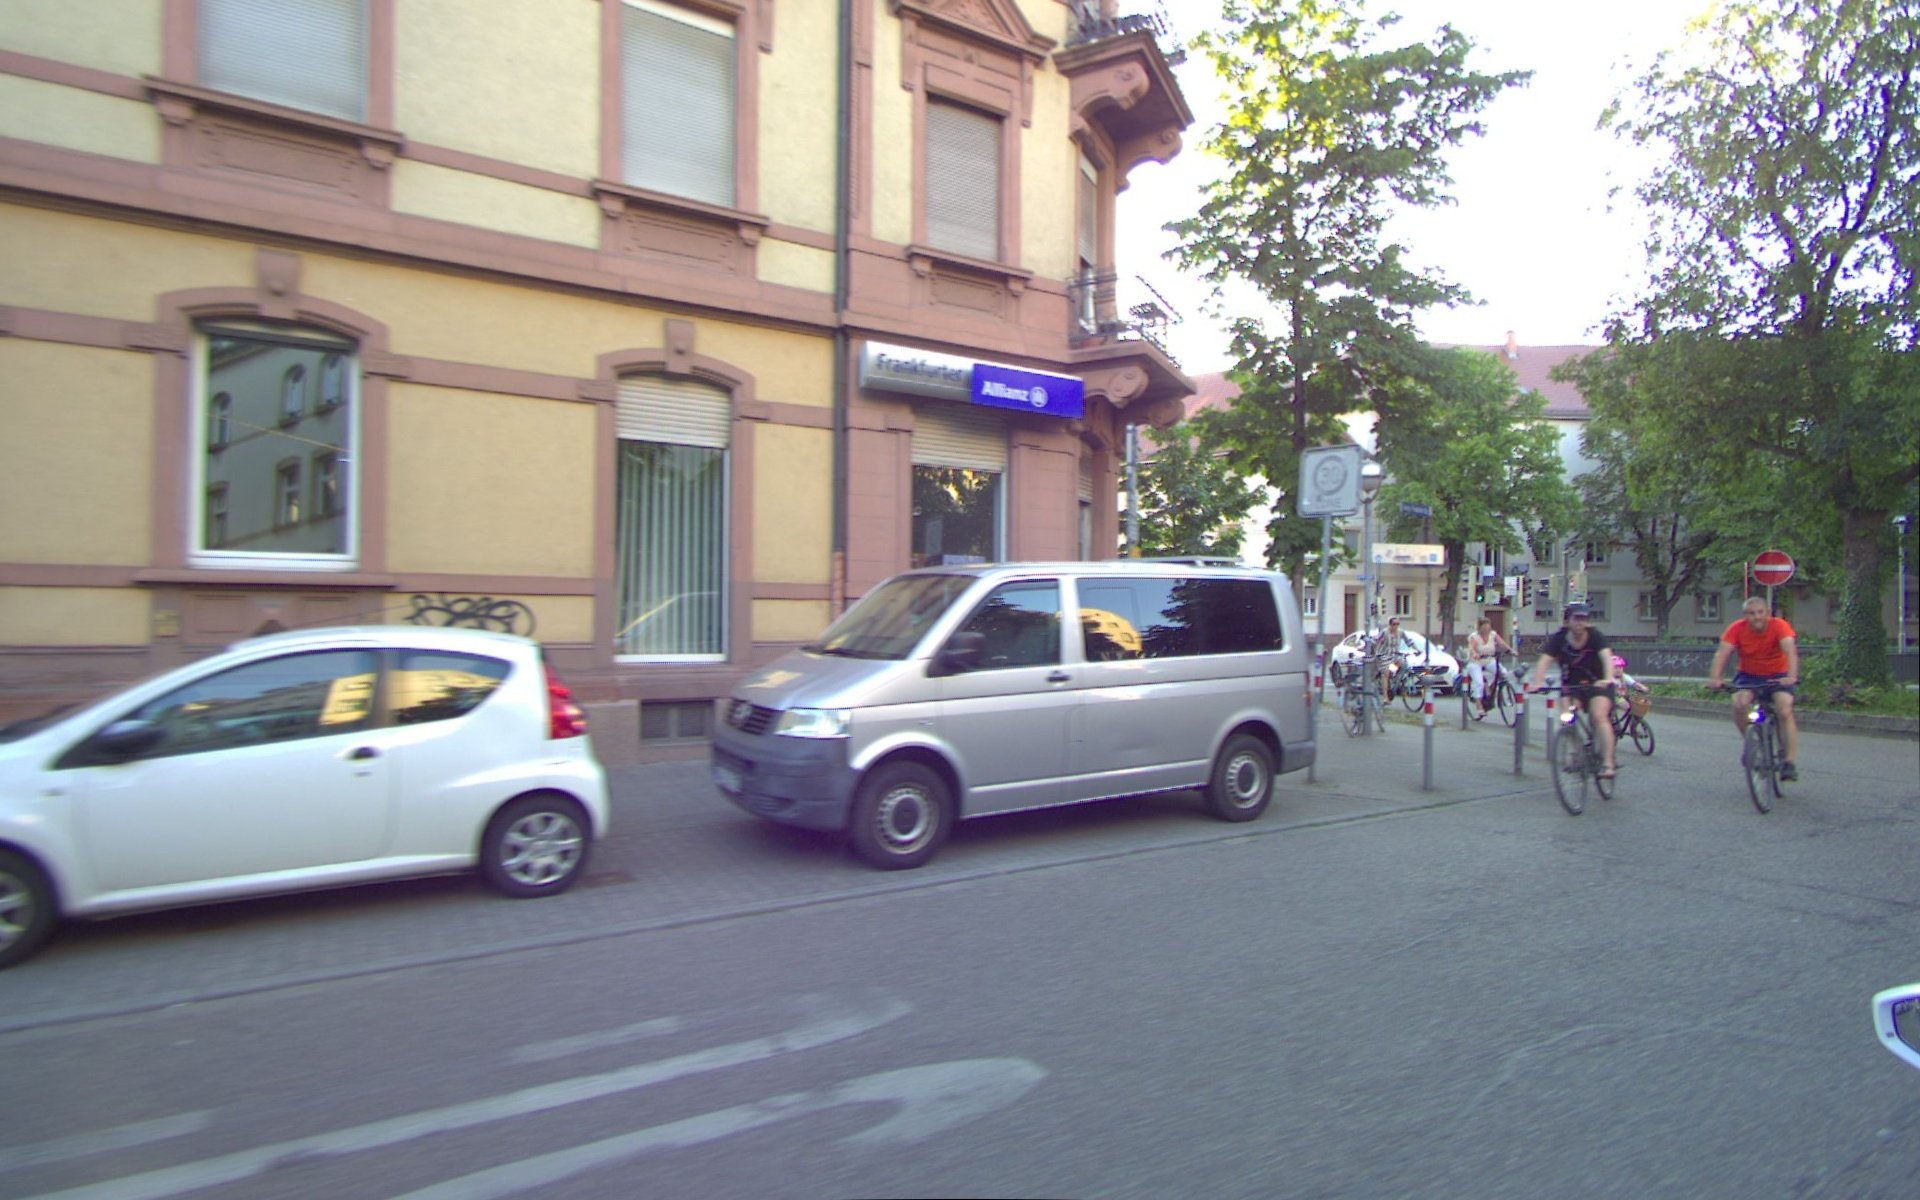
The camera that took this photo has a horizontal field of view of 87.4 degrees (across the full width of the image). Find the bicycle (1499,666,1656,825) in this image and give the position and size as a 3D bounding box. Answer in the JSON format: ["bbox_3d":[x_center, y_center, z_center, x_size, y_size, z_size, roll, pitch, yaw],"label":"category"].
[{"bbox_3d":[5.289,1.160,8.541,0.713,1.122,2.002,0,-1,44],"label":"bicycle"}]

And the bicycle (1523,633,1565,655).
[{"bbox_3d":[31.467,2.365,54.146,1.881,1.166,0.687,0,-1,4],"label":"bicycle"}]

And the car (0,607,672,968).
[{"bbox_3d":[-3.626,0.830,5.601,3.573,1.511,1.675,1,1,-32],"label":"car"}]

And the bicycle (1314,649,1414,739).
[{"bbox_3d":[5.456,1.226,13.513,1.786,1.097,0.553,2,0,-44],"label":"bicycle"}]

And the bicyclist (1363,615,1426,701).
[{"bbox_3d":[8.169,1.079,18.906,0.670,1.565,0.869,1,-1,-28],"label":"bicyclist"}]

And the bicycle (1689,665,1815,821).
[{"bbox_3d":[6.836,1.153,8.629,0.643,1.122,2.002,0,-1,44],"label":"bicycle"}]

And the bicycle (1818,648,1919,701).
[{"bbox_3d":[21.903,1.771,24.006,2.081,1.166,0.684,0,-1,37],"label":"bicycle"}]

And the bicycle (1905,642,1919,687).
[{"bbox_3d":[23.889,1.568,24.022,1.826,1.065,0.544,0,-1,38],"label":"bicycle"}]

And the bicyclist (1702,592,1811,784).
[{"bbox_3d":[6.855,0.719,8.638,0.645,1.546,0.861,0,-1,45],"label":"bicyclist"}]

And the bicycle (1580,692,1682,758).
[{"bbox_3d":[8.261,1.523,12.429,0.638,0.651,1.464,0,-1,16],"label":"bicycle"}]

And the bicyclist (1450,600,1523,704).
[{"bbox_3d":[8.418,0.819,16.092,0.712,1.604,0.875,0,-1,1],"label":"bicyclist"}]

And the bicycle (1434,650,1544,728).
[{"bbox_3d":[8.416,1.389,16.079,0.715,1.109,2.048,0,-1,1],"label":"bicycle"}]

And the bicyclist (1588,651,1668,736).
[{"bbox_3d":[8.279,1.138,12.482,0.635,0.990,0.730,0,-1,17],"label":"bicyclist"}]

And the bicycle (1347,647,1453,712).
[{"bbox_3d":[8.212,1.462,18.813,0.677,1.109,1.796,1,-1,-28],"label":"bicycle"}]

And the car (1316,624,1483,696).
[{"bbox_3d":[10.502,1.374,24.461,1.960,1.537,4.841,1,-1,0],"label":"car"}]

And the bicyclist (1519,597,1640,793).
[{"bbox_3d":[5.251,0.762,8.507,0.706,1.546,0.862,0,-1,44],"label":"bicyclist"}]

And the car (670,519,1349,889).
[{"bbox_3d":[0.507,0.611,7.782,4.946,2.084,2.031,1,1,-30],"label":"car"}]
